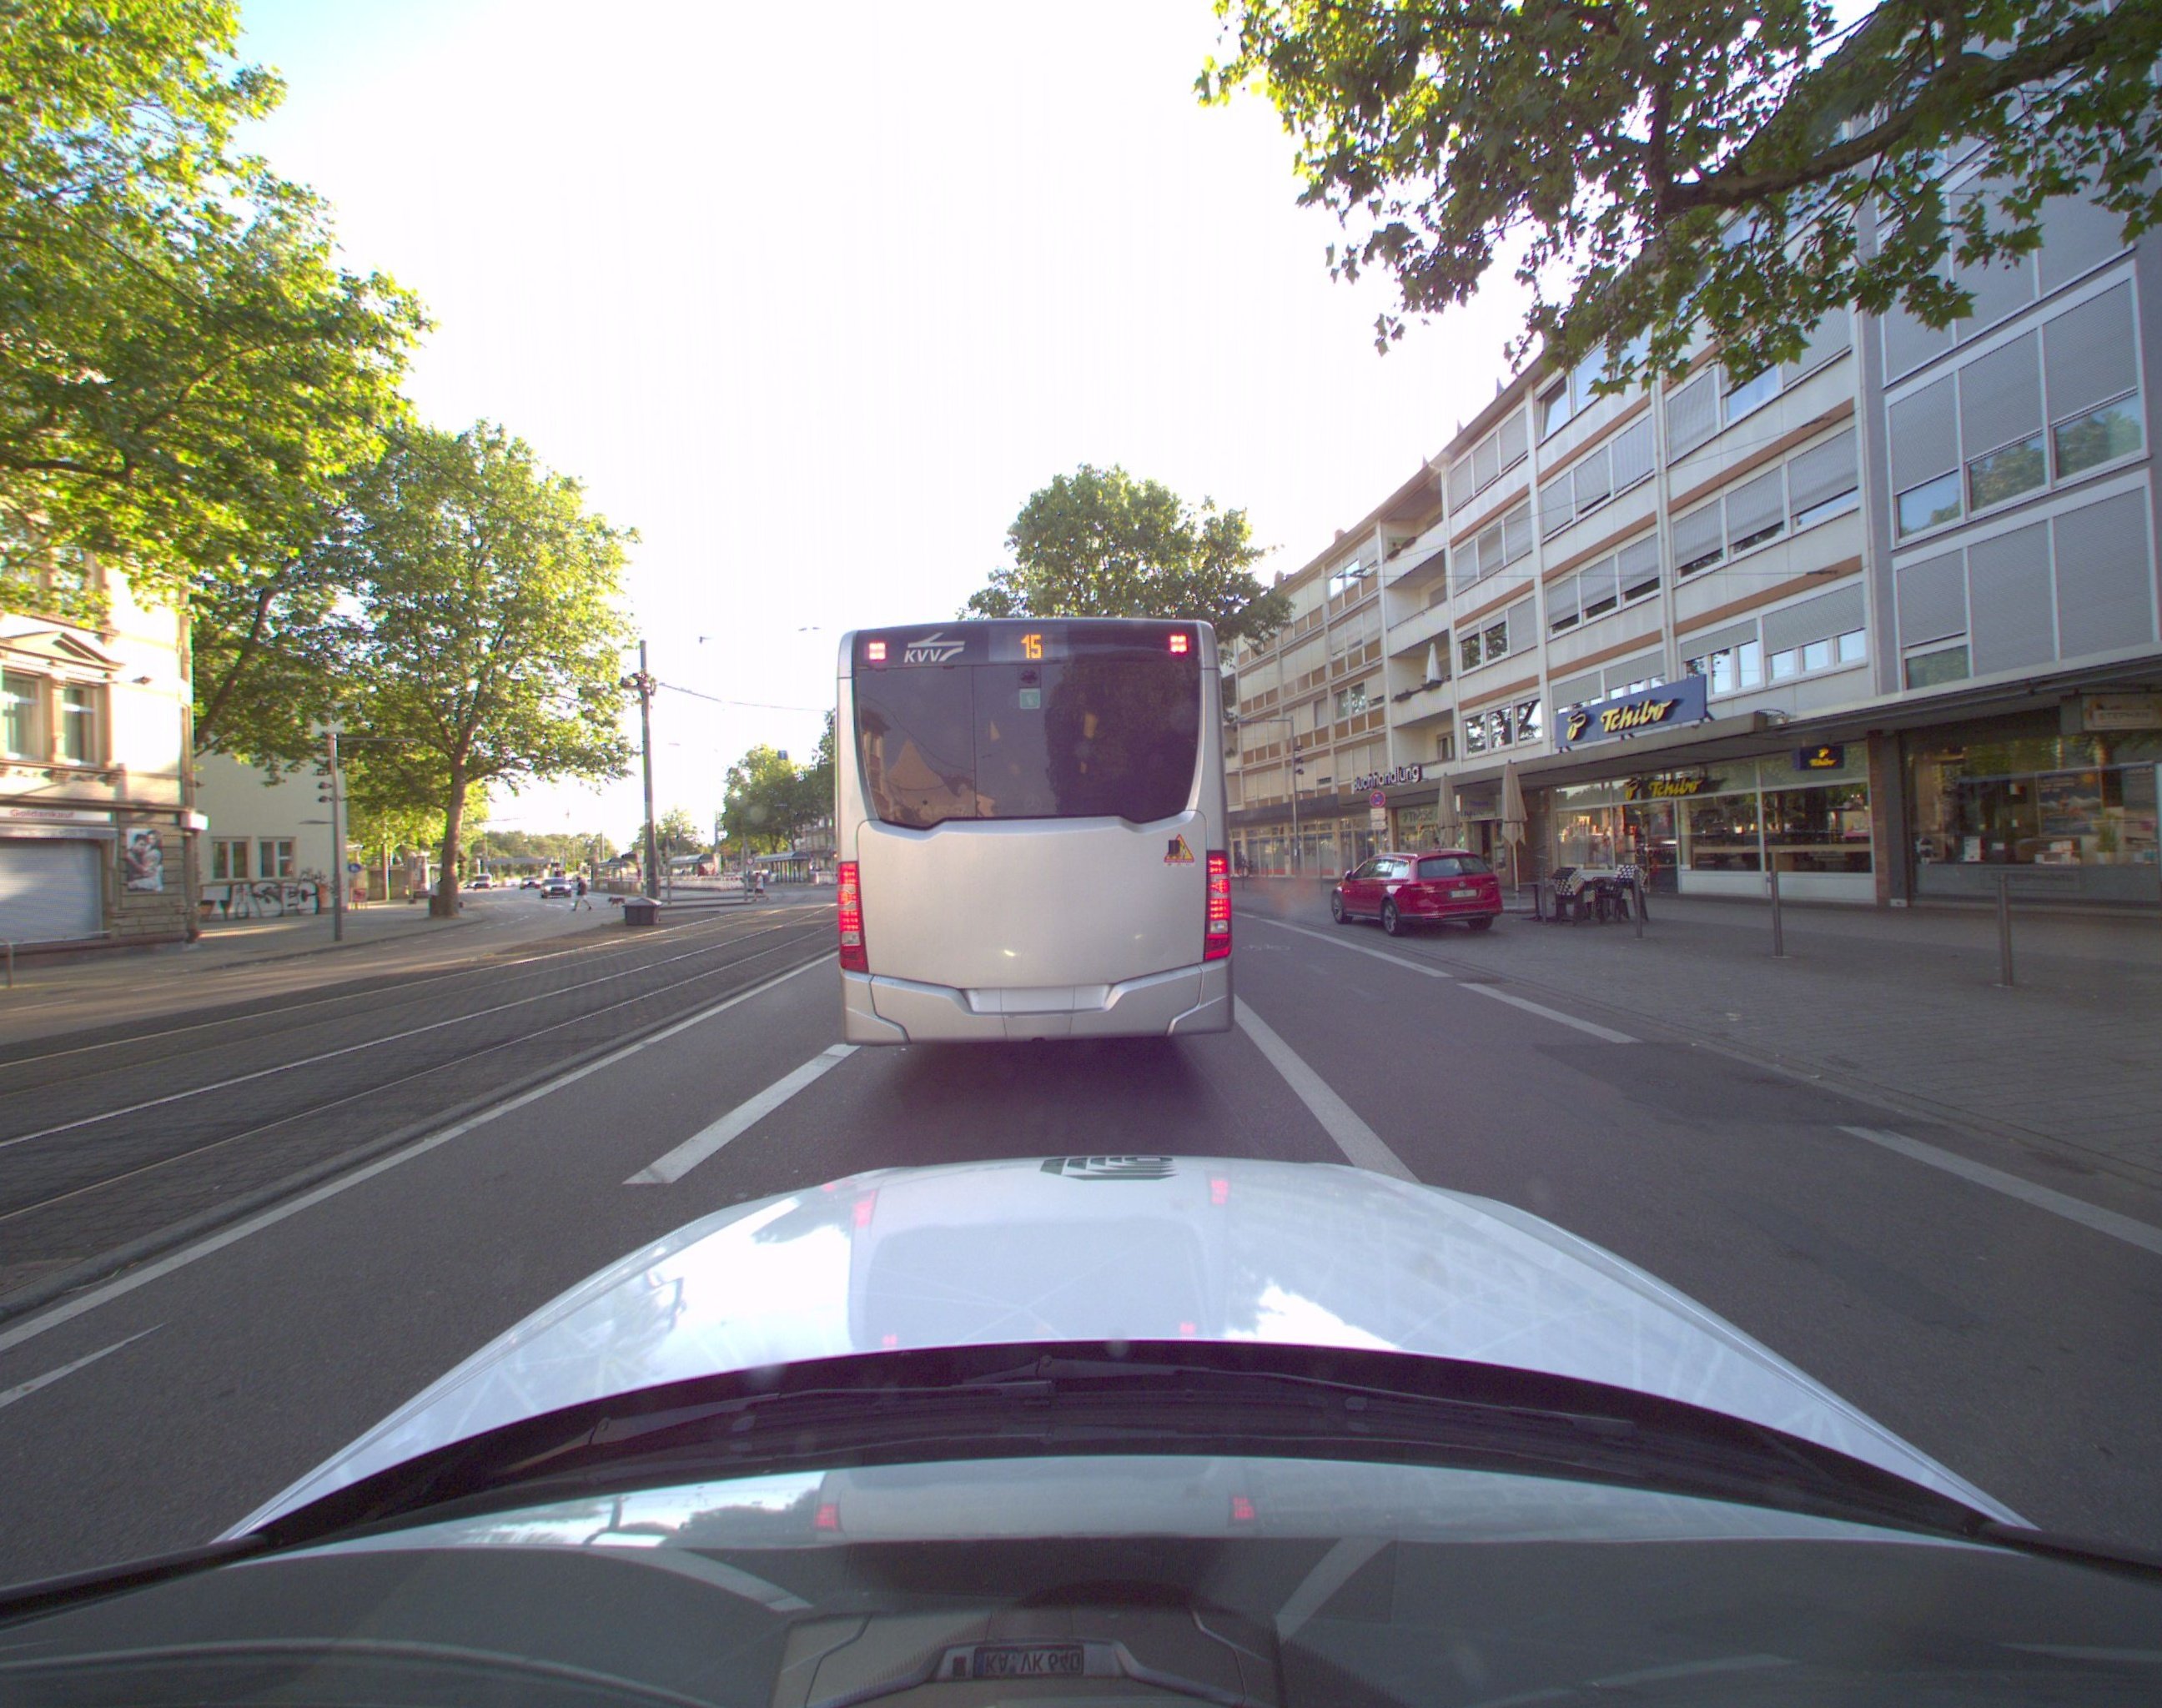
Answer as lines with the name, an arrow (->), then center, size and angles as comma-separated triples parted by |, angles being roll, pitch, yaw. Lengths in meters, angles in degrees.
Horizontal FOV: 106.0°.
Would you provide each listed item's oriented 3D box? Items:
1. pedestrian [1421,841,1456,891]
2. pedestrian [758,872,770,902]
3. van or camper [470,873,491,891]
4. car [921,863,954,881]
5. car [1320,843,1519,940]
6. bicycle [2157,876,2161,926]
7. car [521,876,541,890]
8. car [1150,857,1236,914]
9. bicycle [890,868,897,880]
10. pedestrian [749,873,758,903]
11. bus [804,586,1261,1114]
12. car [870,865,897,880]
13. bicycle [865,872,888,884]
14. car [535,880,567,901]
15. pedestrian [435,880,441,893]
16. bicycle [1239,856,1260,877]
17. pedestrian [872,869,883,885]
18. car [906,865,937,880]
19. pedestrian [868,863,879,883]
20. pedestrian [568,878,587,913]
pedestrian -> 11.423, 0.372, 26.046 | 0.638, 1.552, 0.806 | -2, -1, -6
pedestrian -> -15.954, 1.650, 40.953 | 0.522, 1.504, 0.589 | -2, -1, -21
van or camper -> -84.206, 3.957, 114.138 | 2.185, 2.319, 5.045 | -2, -1, -38
car -> -13.787, 1.722, 78.156 | 1.675, 1.516, 3.376 | -6, 2, -35
car -> 6.360, 0.637, 15.957 | 1.774, 1.496, 4.563 | -4, 0, -2
bicycle -> 8.717, 0.669, 5.512 | 0.294, 1.040, 1.711 | -5, 0, -12
car -> -69.985, 3.697, 103.675 | 1.901, 1.585, 4.160 | -2, -1, -37
car -> 3.116, 0.845, 23.389 | 1.798, 1.474, 4.069 | -1, -1, -1
bicycle -> -19.696, 2.098, 85.576 | 0.508, 1.211, 2.079 | -2, 0, -19
pedestrian -> -16.589, 1.701, 41.248 | 0.410, 1.504, 0.513 | -2, -1, -23
bus -> -0.282, 0.018, 10.043 | 2.649, 3.099, 10.214 | -2, -1, 0
car -> -21.526, 2.043, 88.722 | 1.675, 1.468, 3.375 | -6, 2, -36
bicycle -> -17.449, 2.016, 69.451 | 1.832, 0.942, 0.464 | -2, -1, 3
car -> -40.284, 2.739, 61.854 | 1.900, 1.472, 4.161 | -2, -1, -35
pedestrian -> -75.649, 3.843, 95.855 | 0.519, 1.504, 0.552 | -2, -1, -36
bicycle -> 9.369, 0.687, 45.374 | 0.438, 1.092, 1.453 | -5, 0, -18
pedestrian -> -16.643, 1.886, 66.687 | 0.779, 1.303, 0.590 | -2, -1, -19
car -> -15.991, 1.851, 81.527 | 1.675, 1.394, 3.374 | -6, 2, -37
pedestrian -> -17.595, 1.606, 68.998 | 0.717, 1.725, 0.400 | -2, -1, 3
pedestrian -> -24.914, 2.029, 40.295 | 0.426, 1.710, 0.681 | -1, -1, 33
